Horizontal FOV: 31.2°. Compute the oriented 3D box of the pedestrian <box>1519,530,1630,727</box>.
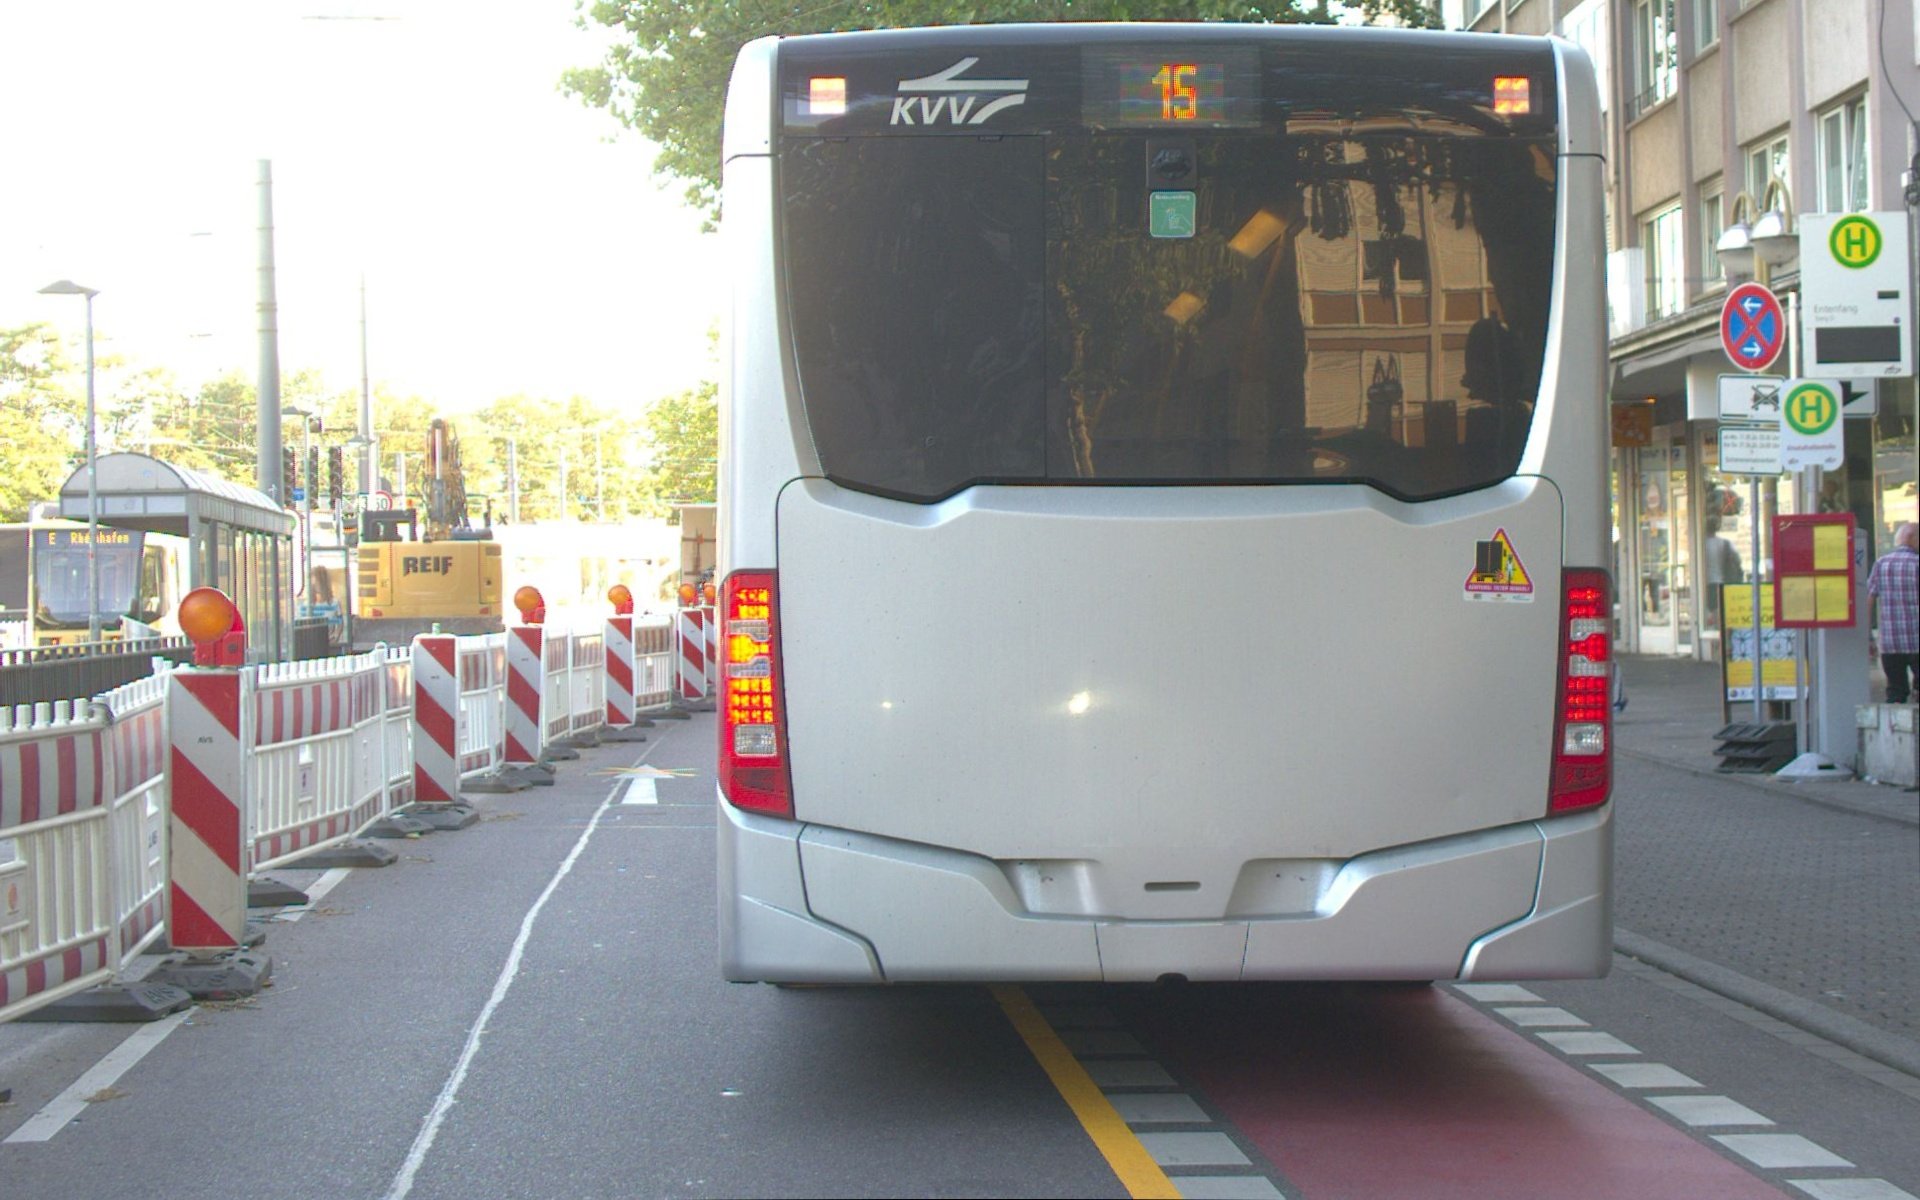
[{"bbox_3d":[5.356,0.242,29.942,0.878,1.685,0.619,-1,1,15],"label":"pedestrian"}]

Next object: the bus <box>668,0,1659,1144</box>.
[{"bbox_3d":[0.554,-0.132,13.200,2.611,3.115,7.993,1,0,0],"label":"bus"}]

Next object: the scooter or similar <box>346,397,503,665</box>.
[{"bbox_3d":[-9.338,-1.164,60.433,2.468,4.455,5.974,-1,0,-7],"label":"scooter or similar"}]

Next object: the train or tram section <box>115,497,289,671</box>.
[{"bbox_3d":[-16.680,-0.331,76.344,2.686,3.546,11.584,0,0,-7],"label":"train or tram section"}]

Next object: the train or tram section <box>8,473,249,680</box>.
[{"bbox_3d":[-15.459,-0.411,64.781,2.686,3.522,11.773,0,0,-5],"label":"train or tram section"}]

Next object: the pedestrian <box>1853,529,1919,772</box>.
[{"bbox_3d":[6.627,0.342,23.997,0.664,1.661,0.600,-3,0,17],"label":"pedestrian"}]
